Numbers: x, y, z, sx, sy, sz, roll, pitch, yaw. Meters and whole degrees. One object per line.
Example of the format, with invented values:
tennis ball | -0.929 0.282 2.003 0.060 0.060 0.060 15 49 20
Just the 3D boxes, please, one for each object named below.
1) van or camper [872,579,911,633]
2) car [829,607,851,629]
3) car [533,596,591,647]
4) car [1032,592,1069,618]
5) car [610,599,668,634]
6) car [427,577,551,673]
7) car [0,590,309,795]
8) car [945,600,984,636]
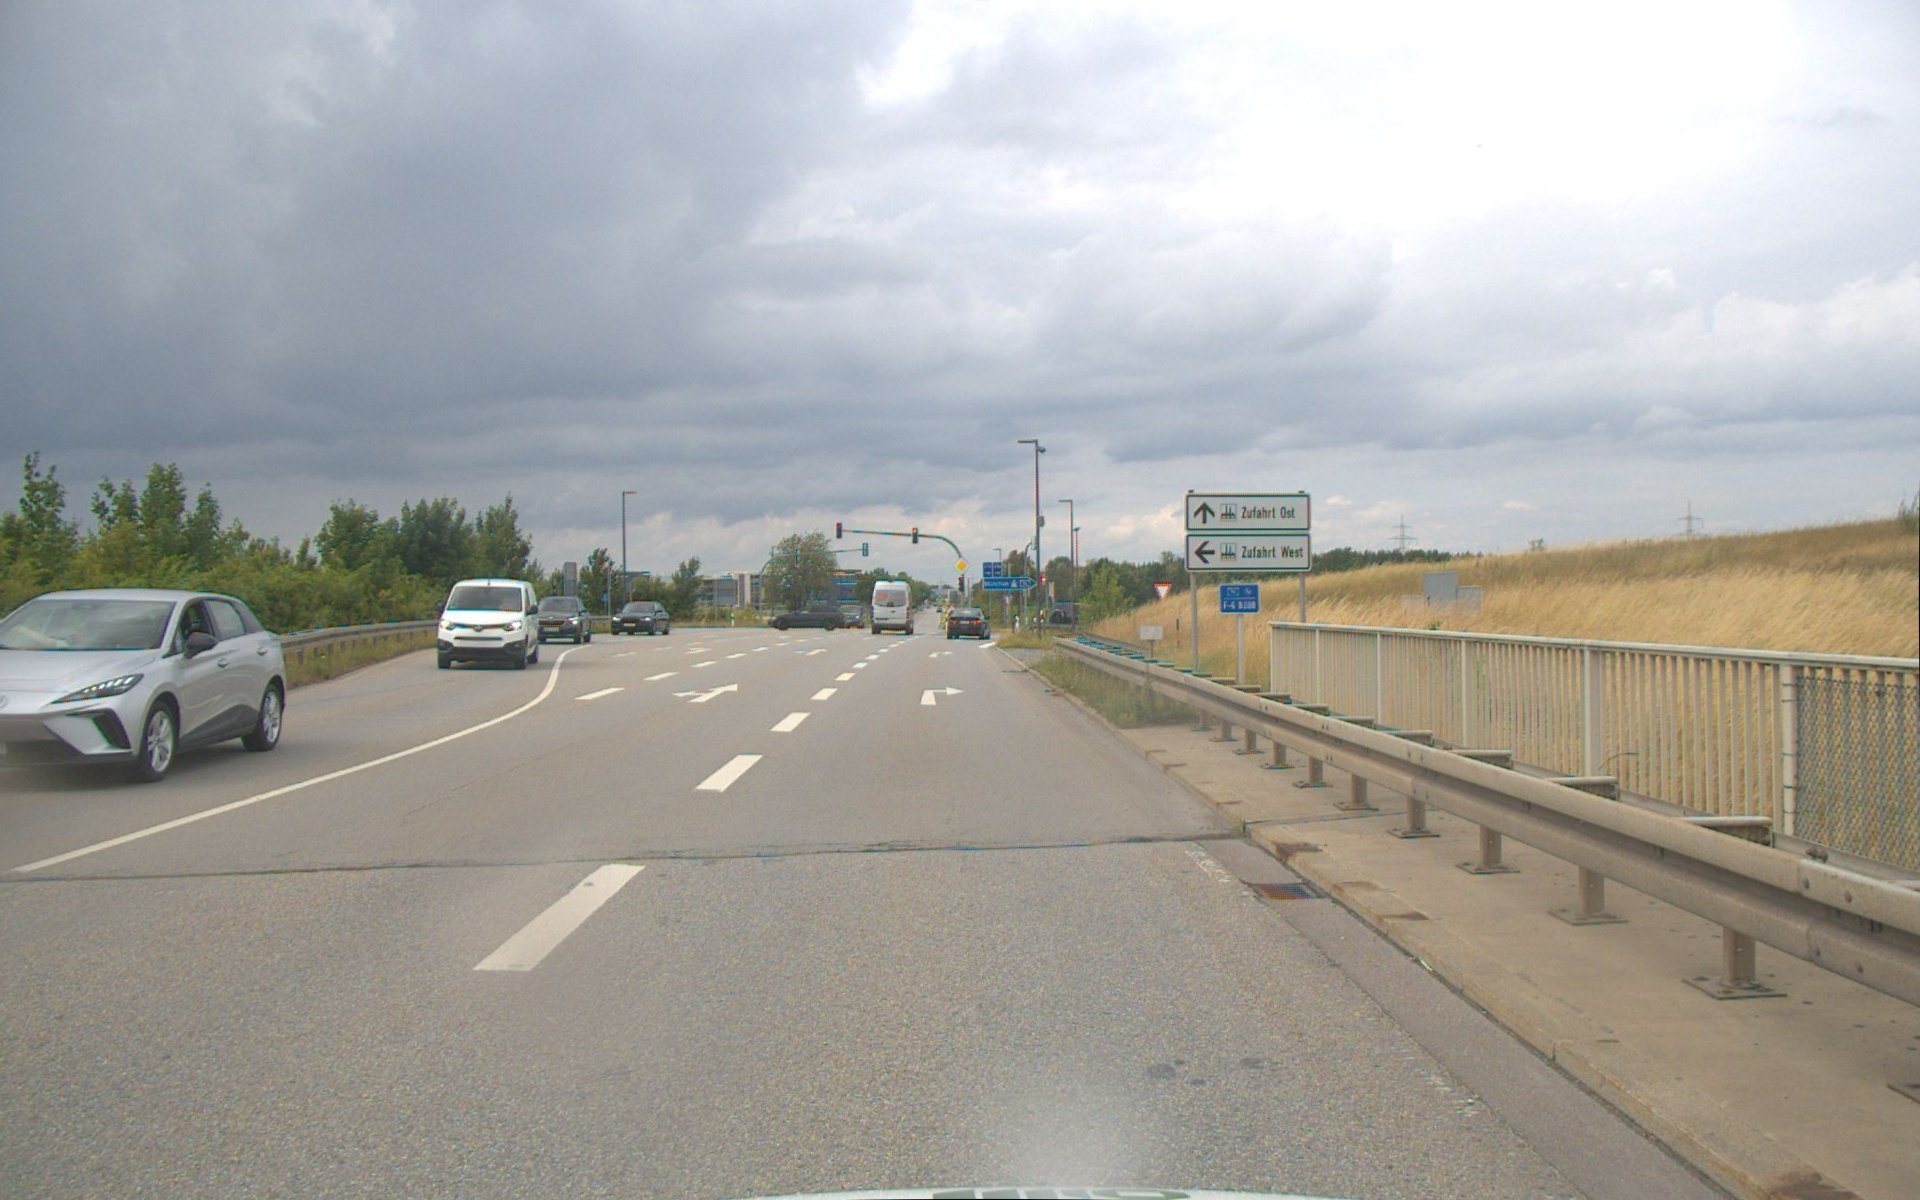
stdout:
van or camper | -3.437 0.295 83.616 1.838 2.626 3.999 1 0 -1
car | -10.308 1.517 142.499 1.604 1.884 3.748 0 0 0
car | -13.119 0.692 54.670 1.554 1.585 4.136 1 0 -10
car | 5.744 0.327 104.551 1.646 1.571 3.618 0 0 15
car | -14.086 0.751 72.726 1.772 1.392 4.782 3 -2 -3
car | -10.037 0.511 35.572 1.917 1.907 4.811 0 0 -8
car | -7.167 0.692 14.353 1.678 1.512 4.275 0 0 -5
car | 0.209 0.766 72.174 1.486 1.511 3.617 0 0 3
